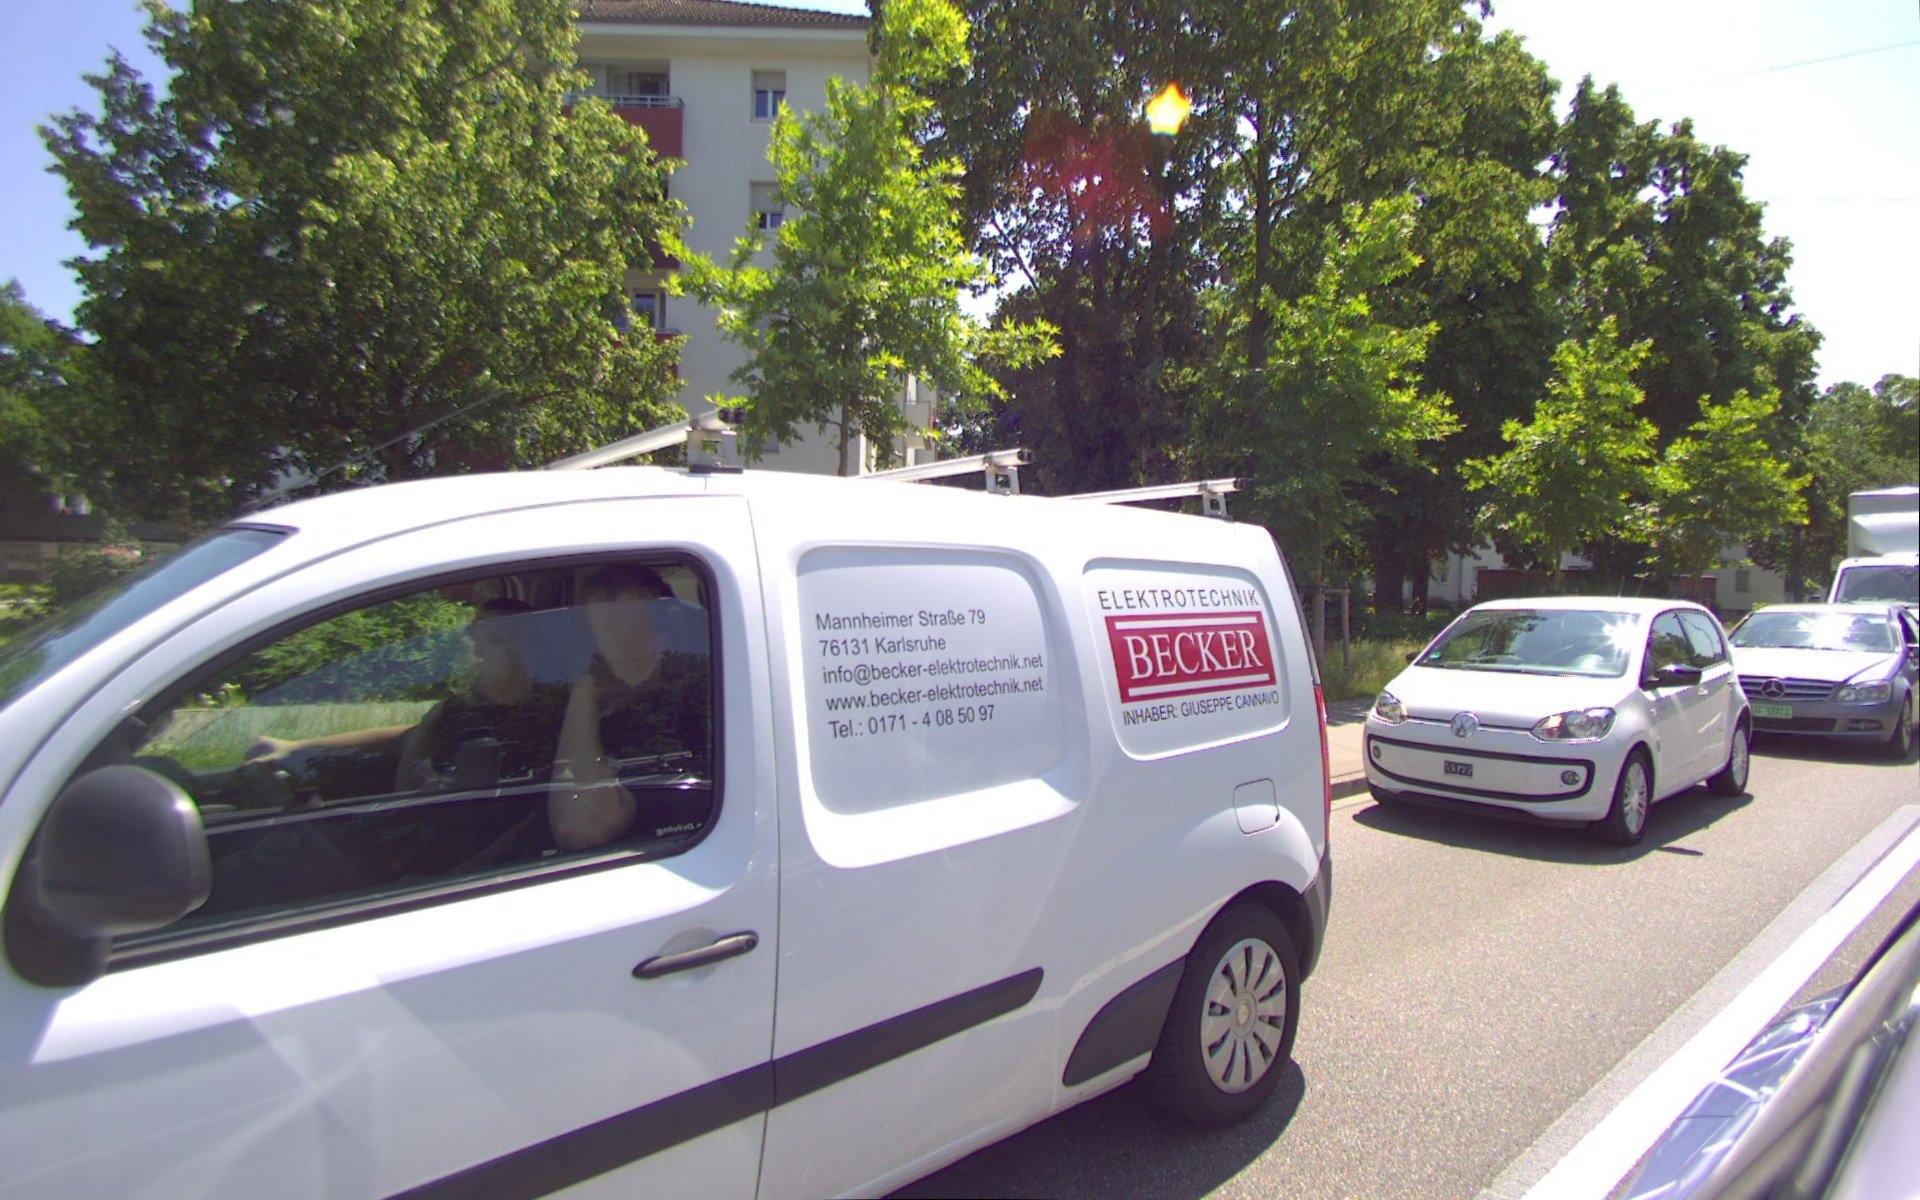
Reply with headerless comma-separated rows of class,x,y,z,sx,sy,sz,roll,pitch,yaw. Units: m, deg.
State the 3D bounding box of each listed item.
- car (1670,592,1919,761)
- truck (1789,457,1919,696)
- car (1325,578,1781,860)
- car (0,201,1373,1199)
car,9.229,0.650,10.744,4.016,1.426,1.839,0,1,-41
truck,16.511,-0.343,16.979,7.778,3.387,2.434,0,1,-39
car,4.396,0.618,7.293,3.705,1.497,1.729,0,1,-41
car,-0.997,0.451,2.539,4.370,1.849,1.997,0,1,-41
